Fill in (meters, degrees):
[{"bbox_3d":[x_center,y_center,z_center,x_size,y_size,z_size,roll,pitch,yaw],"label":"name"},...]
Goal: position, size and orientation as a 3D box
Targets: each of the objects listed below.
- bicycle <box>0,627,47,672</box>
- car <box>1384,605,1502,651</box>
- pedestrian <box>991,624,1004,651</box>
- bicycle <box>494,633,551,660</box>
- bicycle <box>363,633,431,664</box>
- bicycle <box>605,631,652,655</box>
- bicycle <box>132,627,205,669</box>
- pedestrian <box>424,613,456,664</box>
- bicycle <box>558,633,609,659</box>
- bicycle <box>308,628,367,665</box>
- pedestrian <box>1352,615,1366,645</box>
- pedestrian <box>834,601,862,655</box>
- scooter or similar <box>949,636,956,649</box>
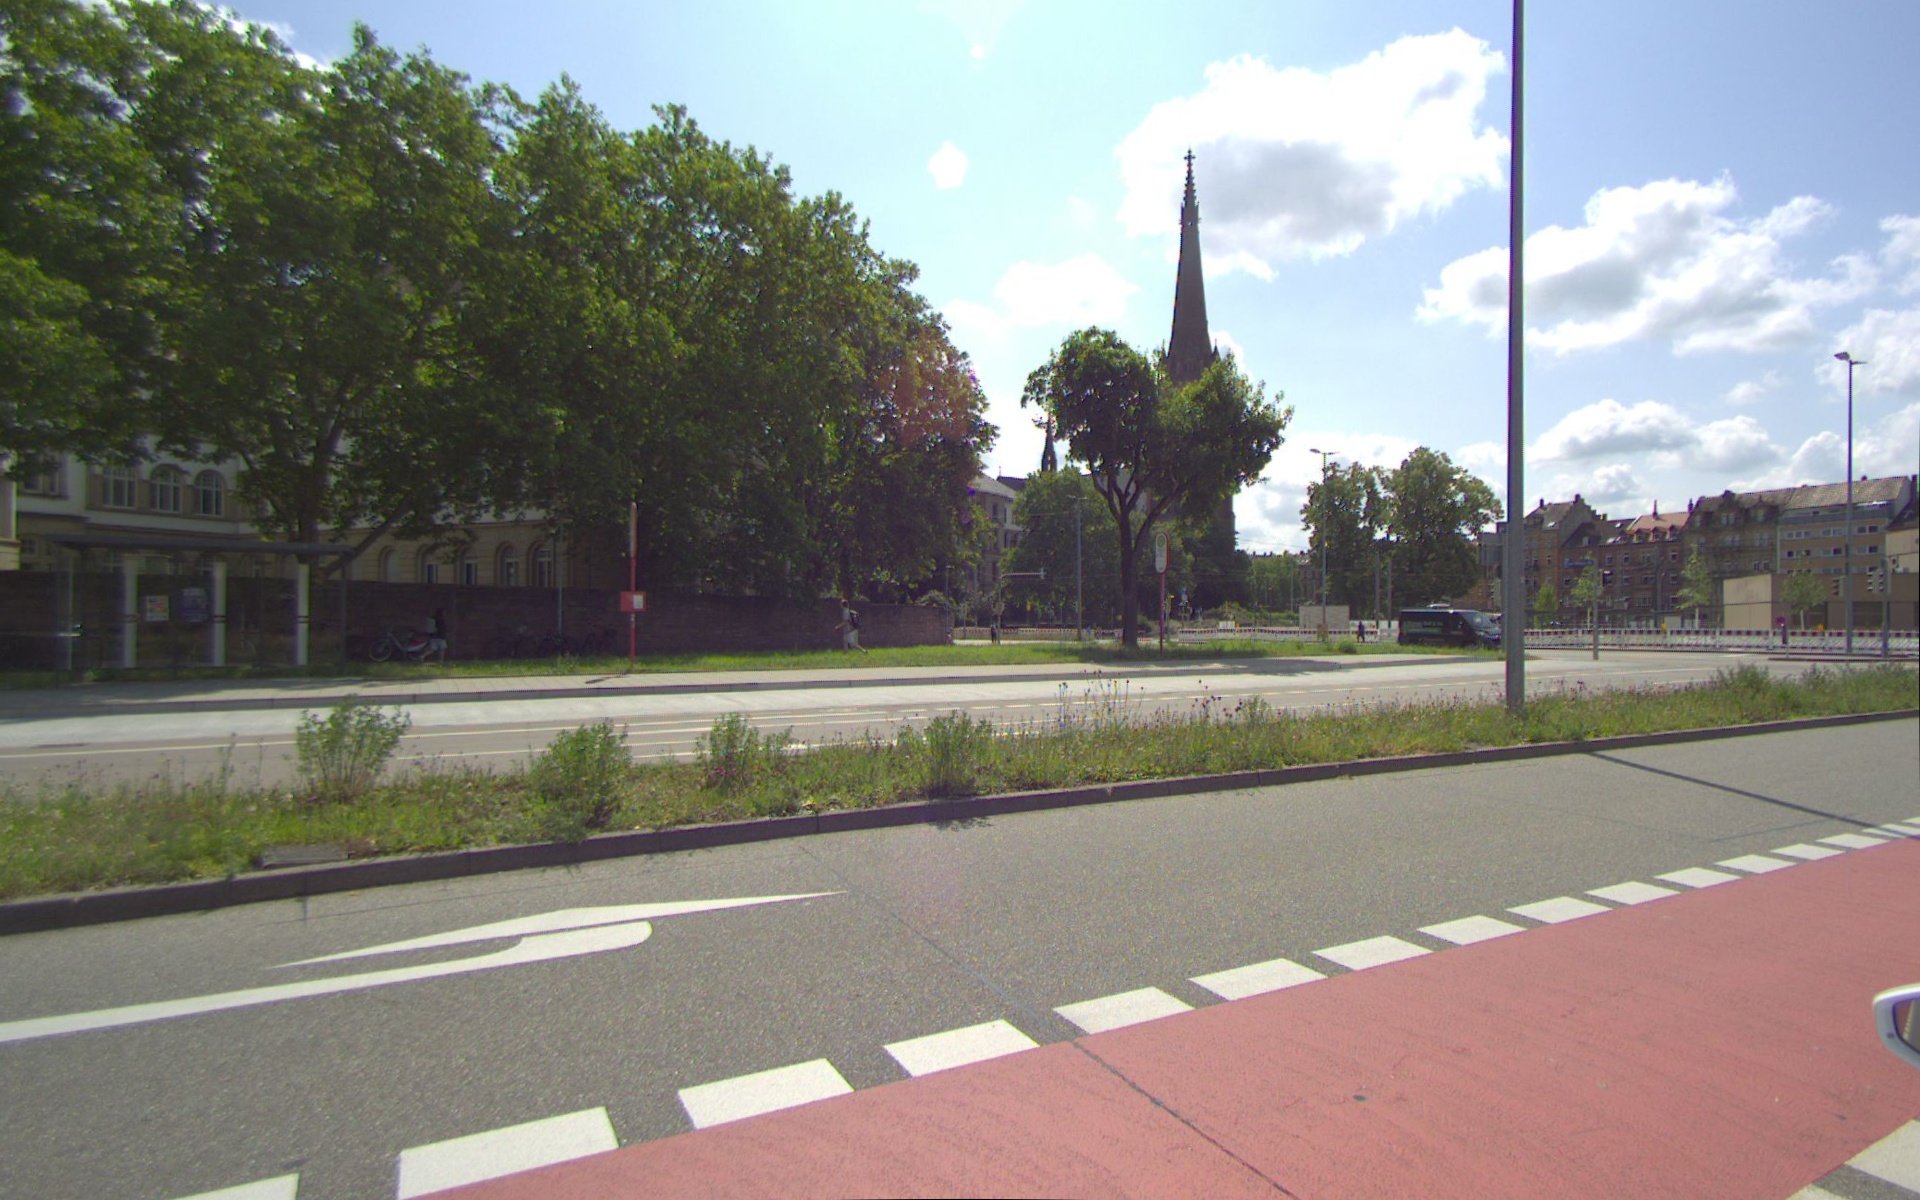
[{"bbox_3d":[-21.253,1.098,22.329,0.260,0.977,1.391,0,-1,36],"label":"bicycle"},{"bbox_3d":[24.123,1.361,50.342,2.132,2.204,4.973,1,-1,-33],"label":"car"},{"bbox_3d":[2.811,2.773,74.654,0.713,2.040,0.721,1,-1,-32],"label":"pedestrian"},{"bbox_3d":[-14.016,1.471,32.203,0.378,0.828,1.743,0,-1,36],"label":"bicycle"},{"bbox_3d":[-16.236,1.388,29.017,0.324,0.828,1.743,0,-1,36],"label":"bicycle"},{"bbox_3d":[-11.772,1.527,35.686,0.324,0.828,1.743,0,-1,36],"label":"bicycle"},{"bbox_3d":[-19.413,1.165,24.650,0.260,0.977,1.391,0,-1,36],"label":"bicycle"},{"bbox_3d":[-14.618,1.074,28.248,0.720,1.413,0.714,1,-1,-35],"label":"pedestrian"},{"bbox_3d":[-12.777,1.560,34.159,0.324,0.828,1.743,0,-1,36],"label":"bicycle"},{"bbox_3d":[-17.156,1.274,27.720,0.260,0.977,1.391,0,-1,36],"label":"bicycle"},{"bbox_3d":[27.152,2.044,68.305,0.625,2.040,0.643,1,-1,-32],"label":"pedestrian"},{"bbox_3d":[-3.139,0.774,28.123,0.627,1.492,0.506,1,-1,-32],"label":"pedestrian"},{"bbox_3d":[-0.435,2.490,58.988,0.117,0.721,1.005,0,-1,17],"label":"scooter or similar"}]
